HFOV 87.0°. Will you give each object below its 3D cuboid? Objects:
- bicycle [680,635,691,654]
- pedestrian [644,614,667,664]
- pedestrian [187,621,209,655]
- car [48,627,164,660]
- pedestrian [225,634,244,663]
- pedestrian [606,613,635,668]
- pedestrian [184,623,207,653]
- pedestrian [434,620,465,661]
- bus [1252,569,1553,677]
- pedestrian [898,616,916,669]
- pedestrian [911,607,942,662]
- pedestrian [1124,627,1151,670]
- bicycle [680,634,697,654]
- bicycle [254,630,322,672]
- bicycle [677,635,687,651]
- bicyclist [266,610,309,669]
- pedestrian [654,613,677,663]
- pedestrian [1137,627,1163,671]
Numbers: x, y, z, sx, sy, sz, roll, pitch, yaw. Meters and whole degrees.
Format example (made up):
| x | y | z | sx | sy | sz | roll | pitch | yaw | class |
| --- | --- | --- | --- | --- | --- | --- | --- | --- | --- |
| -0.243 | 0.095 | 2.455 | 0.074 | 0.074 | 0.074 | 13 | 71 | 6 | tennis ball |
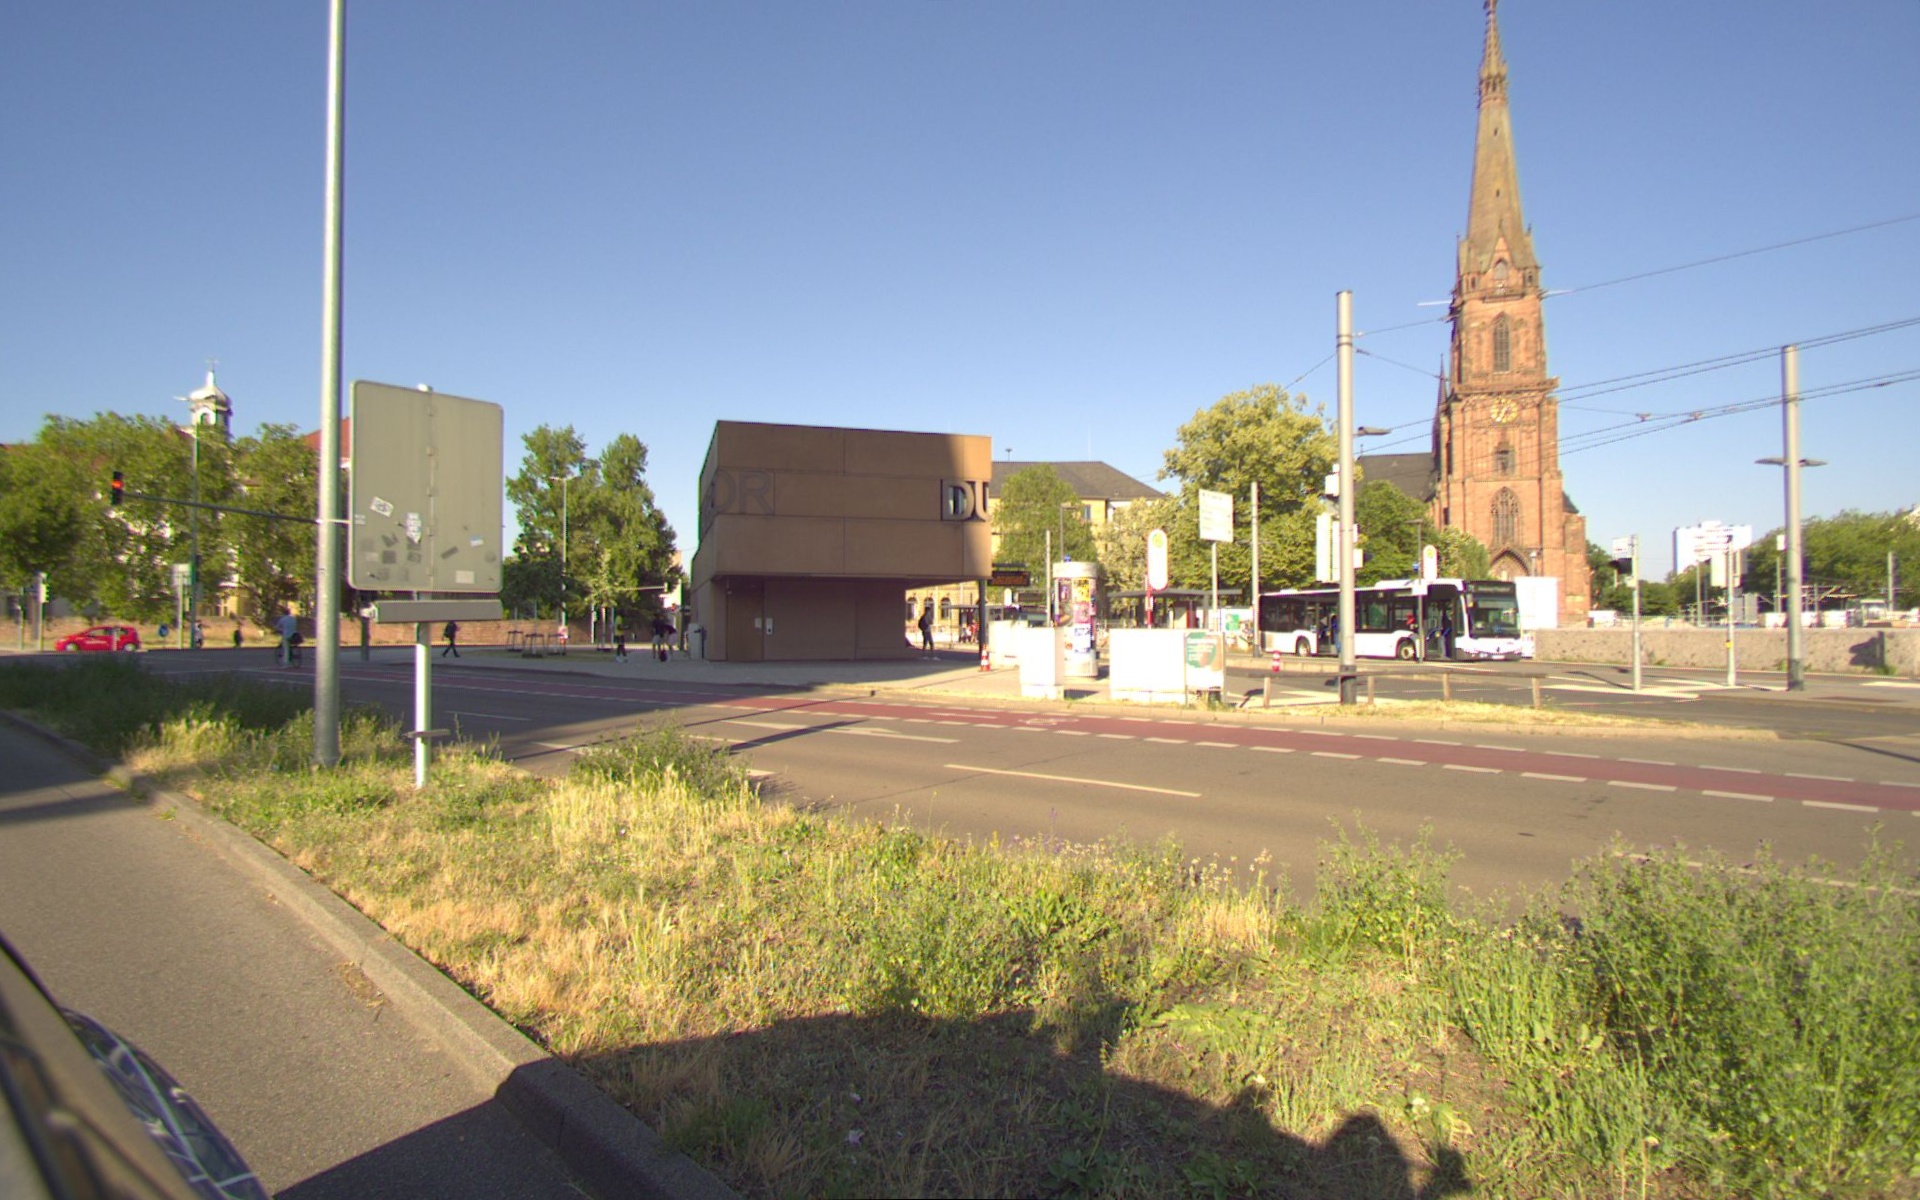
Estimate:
| x | y | z | sx | sy | sz | roll | pitch | yaw | class |
| --- | --- | --- | --- | --- | --- | --- | --- | --- | --- |
| -17.060 | 2.743 | 62.819 | 0.557 | 1.114 | 1.979 | -1 | -1 | -17 | bicycle |
| -10.462 | 1.345 | 34.755 | 0.628 | 1.702 | 0.551 | -1 | -3 | -30 | pedestrian |
| -45.157 | 2.248 | 59.969 | 0.712 | 1.908 | 0.862 | 3 | 0 | 37 | pedestrian |
| -46.216 | 2.328 | 54.824 | 2.194 | 1.598 | 4.543 | -4 | -3 | 41 | car |
| -44.300 | 2.952 | 61.785 | 0.779 | 1.665 | 0.715 | 3 | 0 | -27 | pedestrian |
| -11.593 | 1.375 | 34.591 | 0.707 | 1.849 | 0.640 | 0 | -3 | -43 | pedestrian |
| -44.766 | 2.207 | 59.246 | 0.712 | 1.686 | 0.862 | 3 | 0 | 37 | pedestrian |
| -21.358 | 1.691 | 42.348 | 0.746 | 1.697 | 0.889 | -2 | -2 | 37 | pedestrian |
| 16.139 | 0.699 | 38.723 | 3.195 | 3.342 | 12.225 | 4 | 0 | -17 | bus |
| -2.064 | 1.651 | 39.326 | 0.605 | 2.029 | 0.809 | -2 | -2 | -7 | pedestrian |
| -1.228 | 1.263 | 37.024 | 0.964 | 1.997 | 0.721 | 1 | -3 | -17 | pedestrian |
| 8.430 | 2.294 | 48.022 | 0.980 | 1.997 | 0.831 | 1 | -3 | -15 | pedestrian |
| -15.801 | 2.588 | 58.876 | 0.732 | 1.114 | 2.131 | -1 | -2 | -21 | bicycle |
| -21.615 | 1.619 | 32.531 | 2.545 | 1.265 | 0.735 | 0 | -1 | 29 | bicycle |
| -19.119 | 2.944 | 69.653 | 0.558 | 1.062 | 1.978 | -2 | -1 | -12 | bicycle |
| -21.632 | 1.256 | 32.550 | 1.009 | 1.846 | 0.735 | 0 | -1 | 28 | bicyclist |
| -10.438 | 1.340 | 35.818 | 0.724 | 1.744 | 0.667 | -1 | -2 | -18 | pedestrian |
| 8.688 | 2.220 | 46.272 | 0.964 | 1.997 | 0.721 | 1 | -3 | -15 | pedestrian |
